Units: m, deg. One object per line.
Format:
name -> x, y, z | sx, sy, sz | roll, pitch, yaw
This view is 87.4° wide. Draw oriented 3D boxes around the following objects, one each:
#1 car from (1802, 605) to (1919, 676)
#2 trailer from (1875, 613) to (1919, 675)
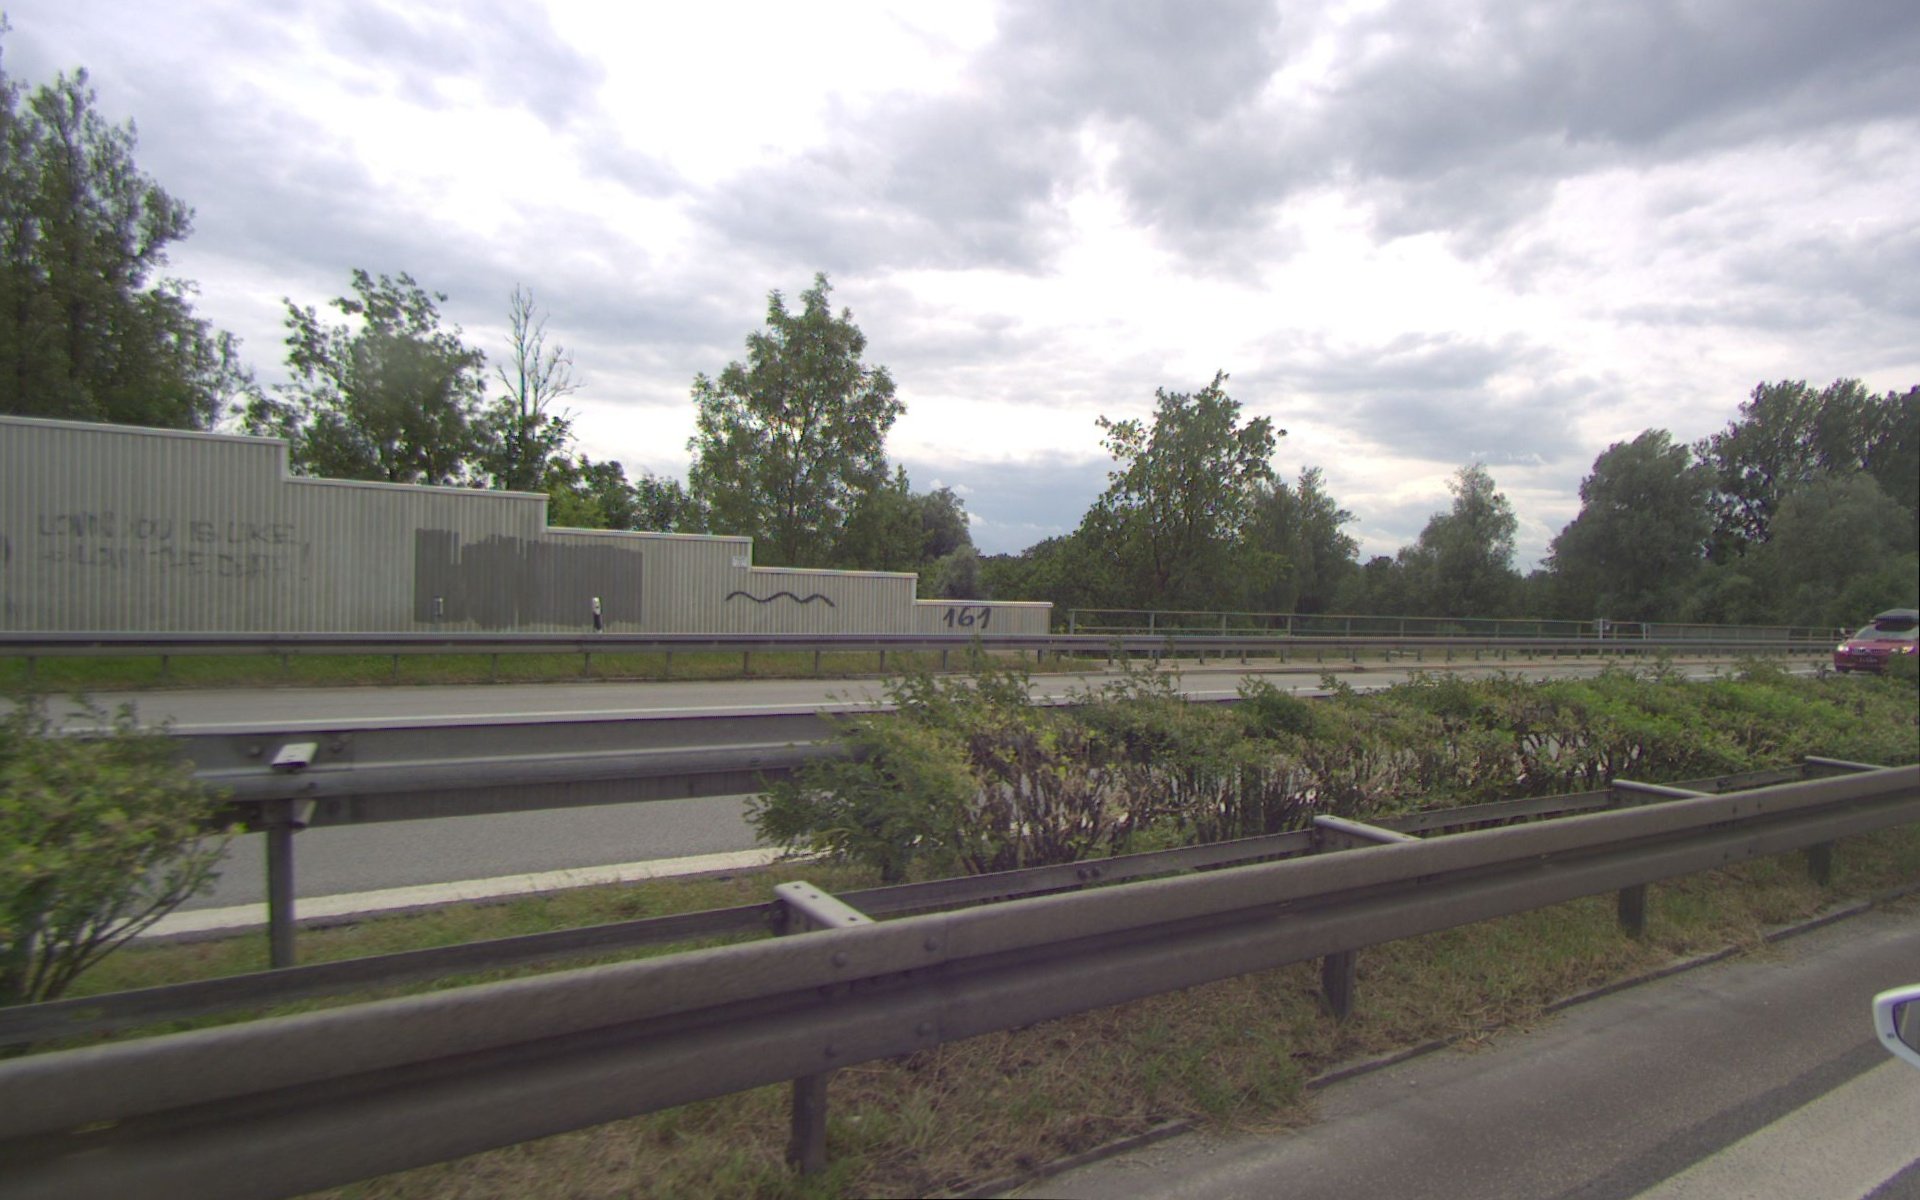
car -> 25.563, 1.101, 27.820 | 4.888, 1.784, 1.960 | 1, 0, -31
trailer -> 29.127, 1.323, 30.076 | 3.337, 1.772, 1.639 | 1, 0, -31
